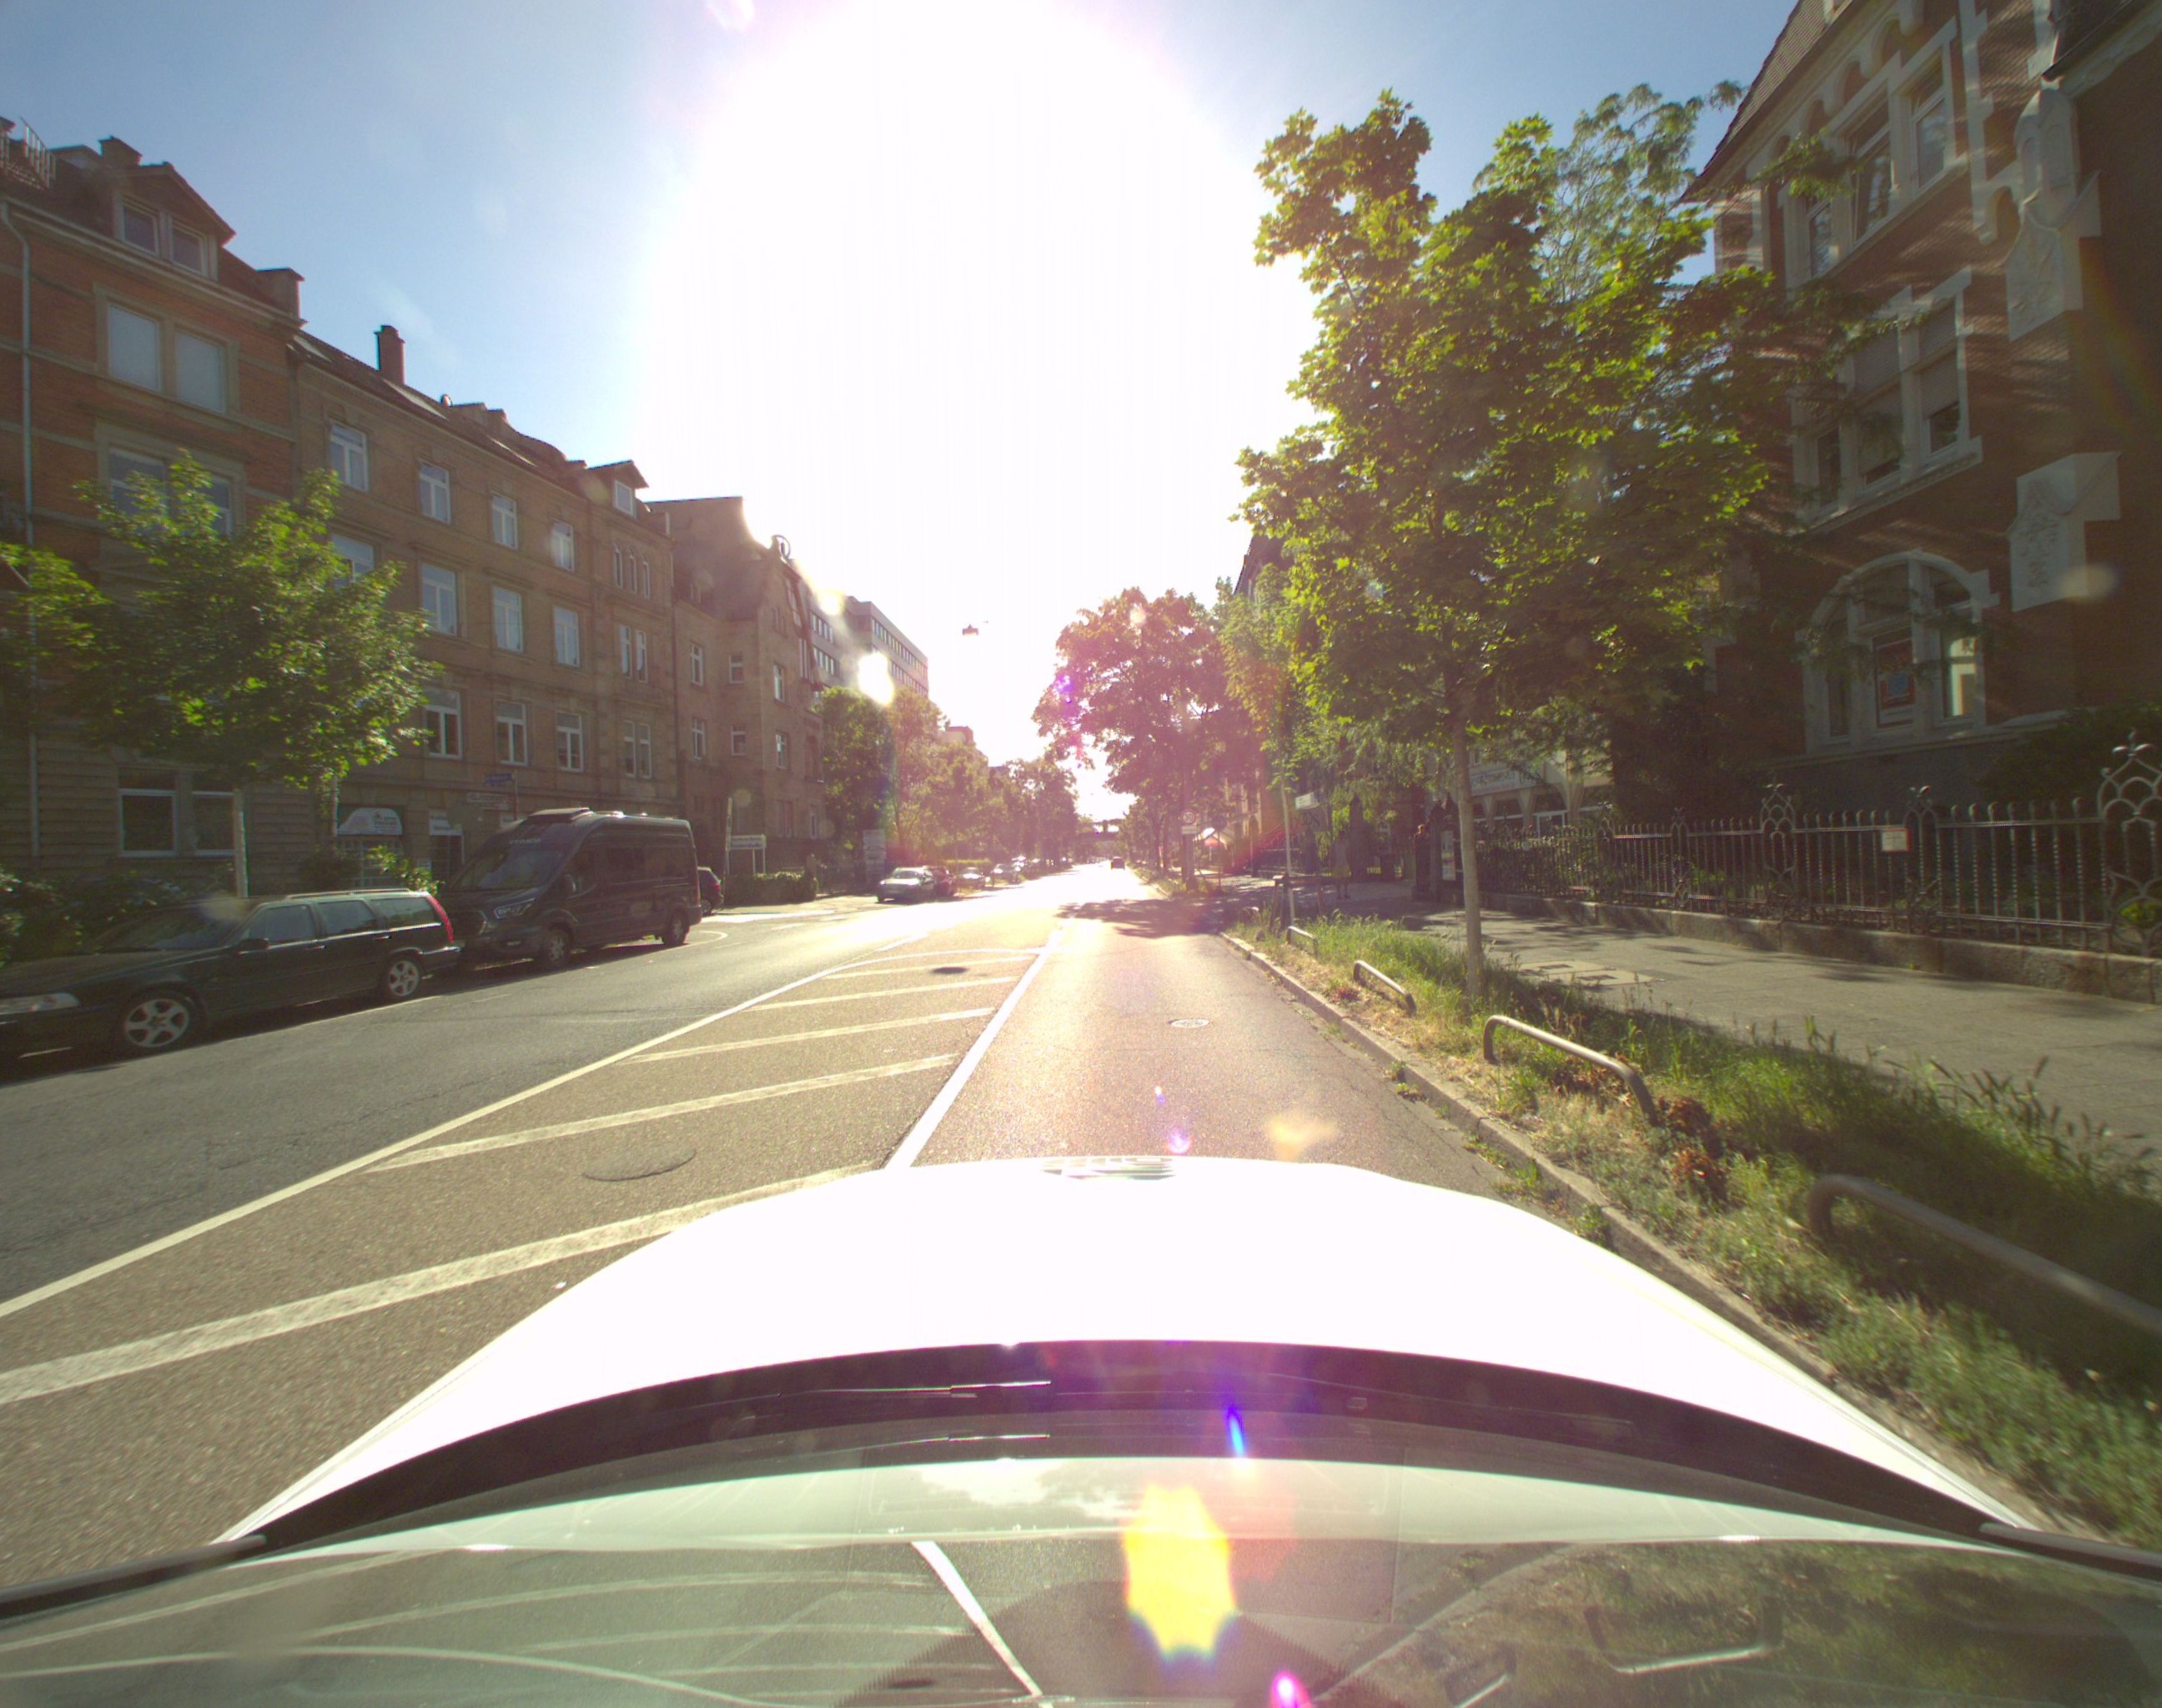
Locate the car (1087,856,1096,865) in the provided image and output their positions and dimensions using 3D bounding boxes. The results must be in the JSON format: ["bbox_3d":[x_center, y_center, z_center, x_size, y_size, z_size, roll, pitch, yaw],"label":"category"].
[{"bbox_3d":[2.513,1.452,189.496,1.849,1.825,4.611,-4,0,1],"label":"car"}]

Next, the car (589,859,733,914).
[{"bbox_3d":[-14.036,1.042,27.271,4.157,1.670,1.981,1,1,-31],"label":"car"}]

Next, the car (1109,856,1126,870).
[{"bbox_3d":[4.380,1.074,98.389,1.978,1.600,4.141,-1,0,1],"label":"car"}]

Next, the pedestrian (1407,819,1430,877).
[{"bbox_3d":[10.631,-0.177,25.629,0.536,1.778,0.536,-3,-1,28],"label":"pedestrian"}]

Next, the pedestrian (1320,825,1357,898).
[{"bbox_3d":[6.619,0.195,20.979,0.742,1.787,0.814,-5,-1,16],"label":"pedestrian"}]

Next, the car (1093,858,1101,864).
[{"bbox_3d":[4.380,1.916,223.050,1.849,1.568,4.717,-4,0,2],"label":"car"}]

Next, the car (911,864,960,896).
[{"bbox_3d":[-7.447,1.283,42.173,1.851,1.494,4.701,1,0,-2],"label":"car"}]

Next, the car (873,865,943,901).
[{"bbox_3d":[-7.698,1.240,36.665,1.848,1.427,4.723,2,0,3],"label":"car"}]

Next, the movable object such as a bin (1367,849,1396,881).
[{"bbox_3d":[9.642,0.342,26.111,0.622,0.965,0.667,-4,0,1],"label":"movable object such as a bin"}]

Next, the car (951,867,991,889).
[{"bbox_3d":[-6.671,1.435,49.546,1.671,1.255,4.018,-1,0,3],"label":"car"}]

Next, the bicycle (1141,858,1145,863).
[{"bbox_3d":[12.166,1.231,160.474,0.587,1.027,1.860,-2,-1,1],"label":"bicycle"}]

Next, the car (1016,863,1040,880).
[{"bbox_3d":[-4.928,1.632,76.782,1.704,1.459,4.076,-1,0,4],"label":"car"}]

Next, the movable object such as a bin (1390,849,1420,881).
[{"bbox_3d":[10.357,0.338,26.051,0.622,0.965,0.667,-4,0,1],"label":"movable object such as a bin"}]

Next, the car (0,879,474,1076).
[{"bbox_3d":[-9.424,1.135,9.024,1.687,1.456,4.666,-4,0,2],"label":"car"}]

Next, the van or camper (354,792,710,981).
[{"bbox_3d":[-9.534,0.487,15.121,2.208,2.739,6.091,-2,0,2],"label":"van or camper"}]

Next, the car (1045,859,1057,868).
[{"bbox_3d":[-5.292,1.579,143.167,1.849,1.523,4.320,-1,0,1],"label":"car"}]

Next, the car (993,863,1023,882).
[{"bbox_3d":[-5.831,1.463,65.529,1.680,1.383,4.196,-1,0,5],"label":"car"}]
